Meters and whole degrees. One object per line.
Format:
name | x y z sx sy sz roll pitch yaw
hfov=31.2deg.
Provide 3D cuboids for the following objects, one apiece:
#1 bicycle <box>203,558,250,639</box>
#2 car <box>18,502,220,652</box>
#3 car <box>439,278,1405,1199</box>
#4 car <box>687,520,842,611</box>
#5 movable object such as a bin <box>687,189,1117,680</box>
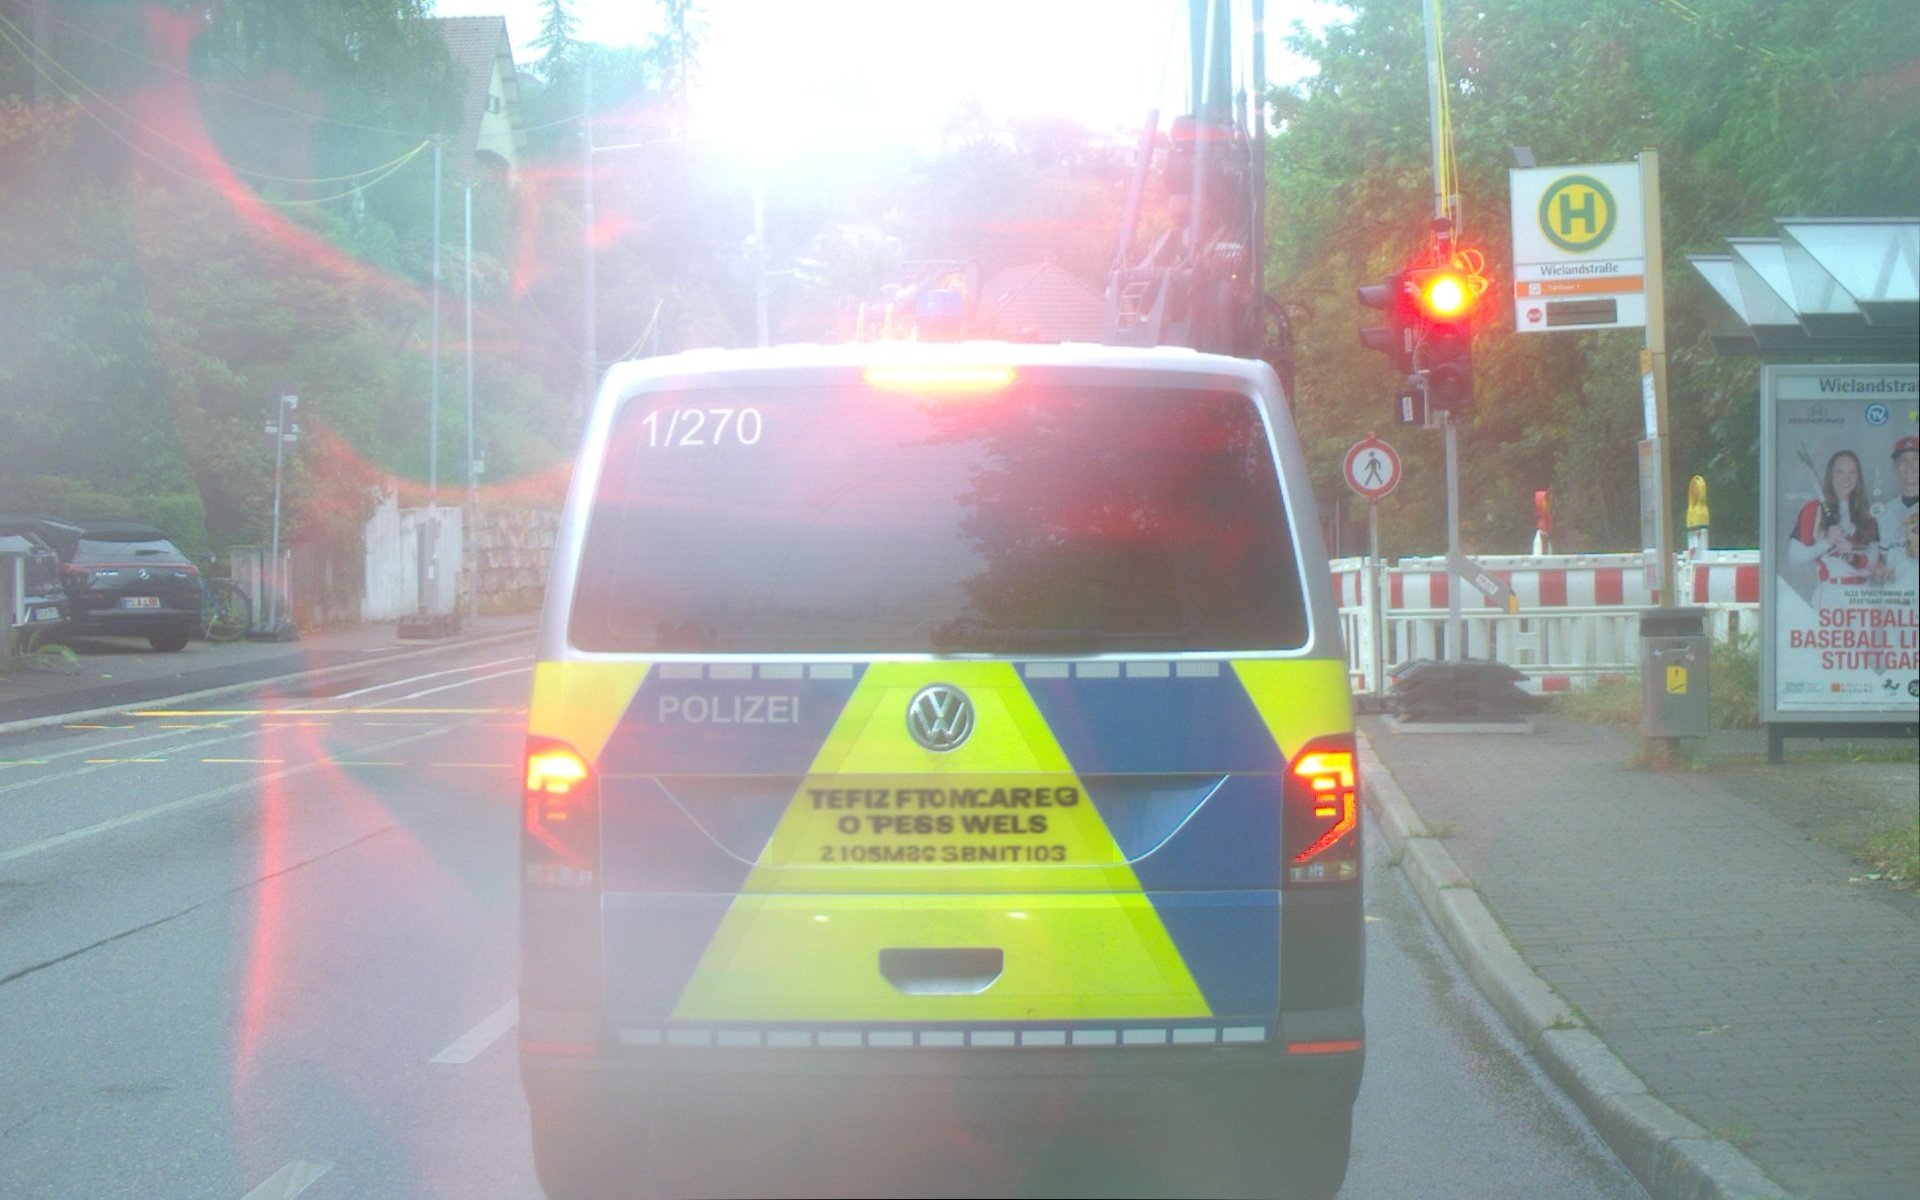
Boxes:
bicycle | -8.450 -0.028 39.588 0.462 0.894 1.634 0 1 -15
car | -9.331 -0.288 37.970 1.765 1.481 3.743 1 3 -20
car | -0.100 0.356 8.828 1.893 2.043 4.000 1 1 -1
car | -3.390 -0.603 60.434 1.853 1.522 4.818 1 1 7
movable object such as a bin | -0.428 -1.464 31.627 2.832 4.163 4.378 1 1 15
